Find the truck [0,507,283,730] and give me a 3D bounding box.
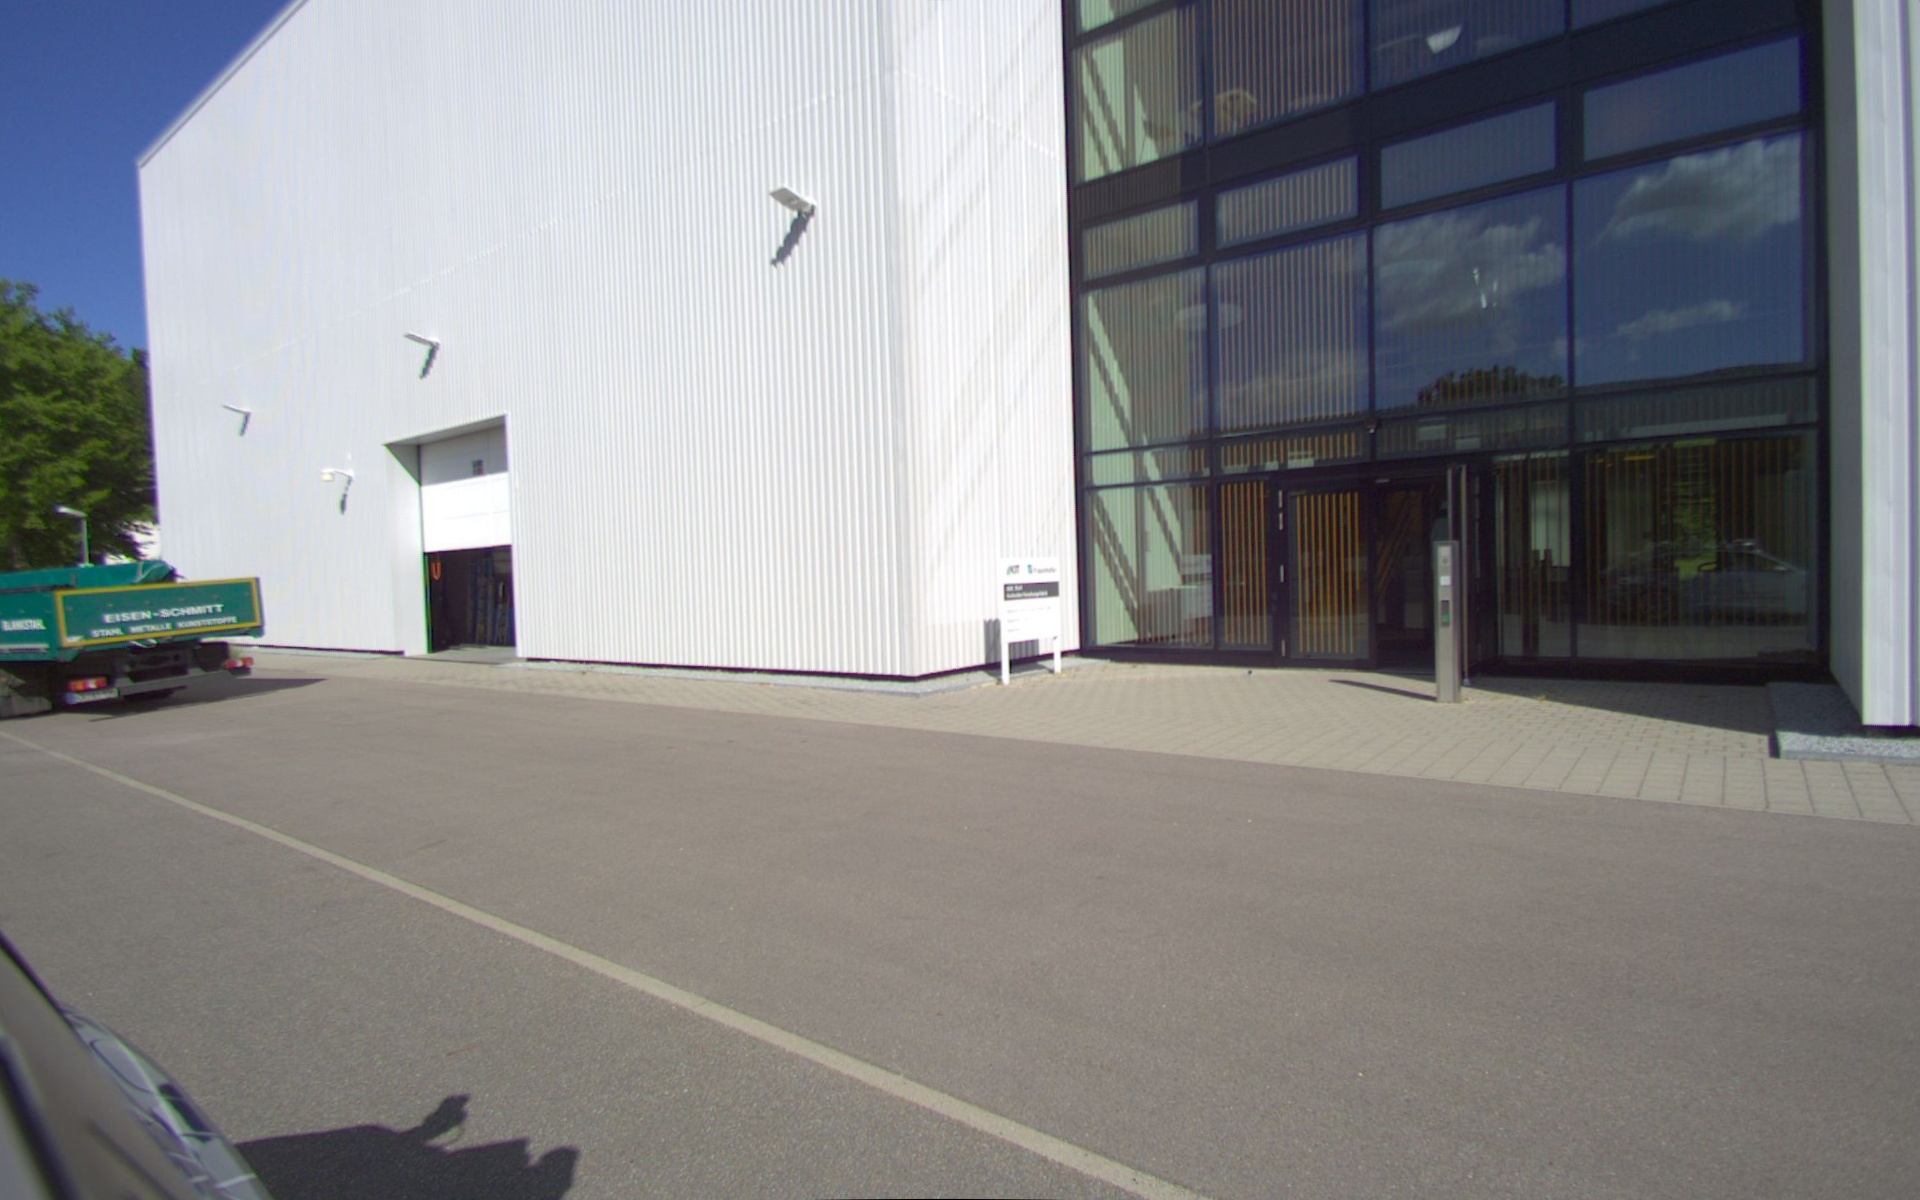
[{"bbox_3d":[-14.803,0.270,15.624,9.642,2.736,2.568,-2,3,26],"label":"truck"}]
